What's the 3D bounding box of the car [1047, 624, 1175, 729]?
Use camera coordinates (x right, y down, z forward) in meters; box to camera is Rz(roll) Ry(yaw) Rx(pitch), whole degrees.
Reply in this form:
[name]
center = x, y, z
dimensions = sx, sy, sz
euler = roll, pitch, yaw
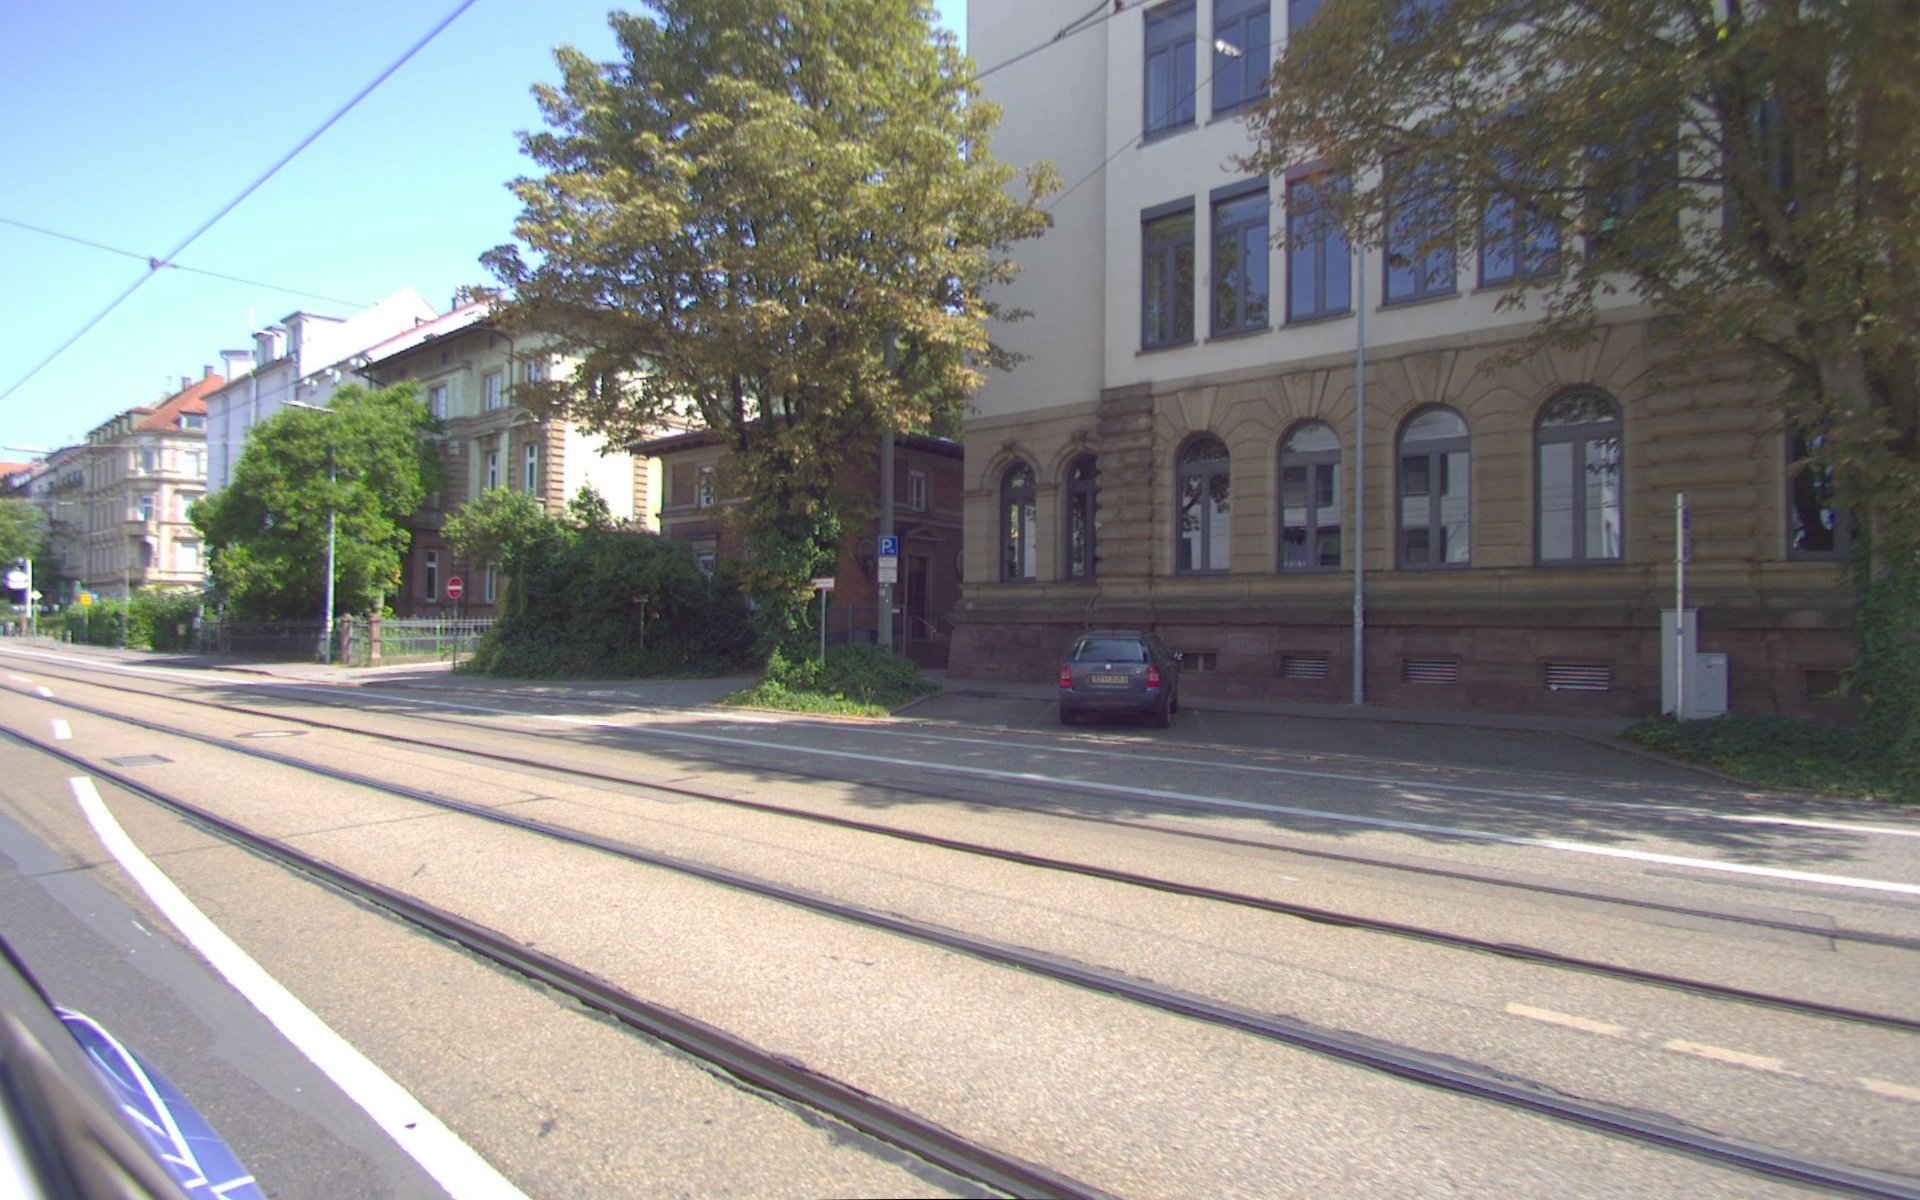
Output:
[car]
center = 2.607, 1.133, 16.652
dimensions = 1.802, 1.473, 4.412
euler = 0, -1, 12
